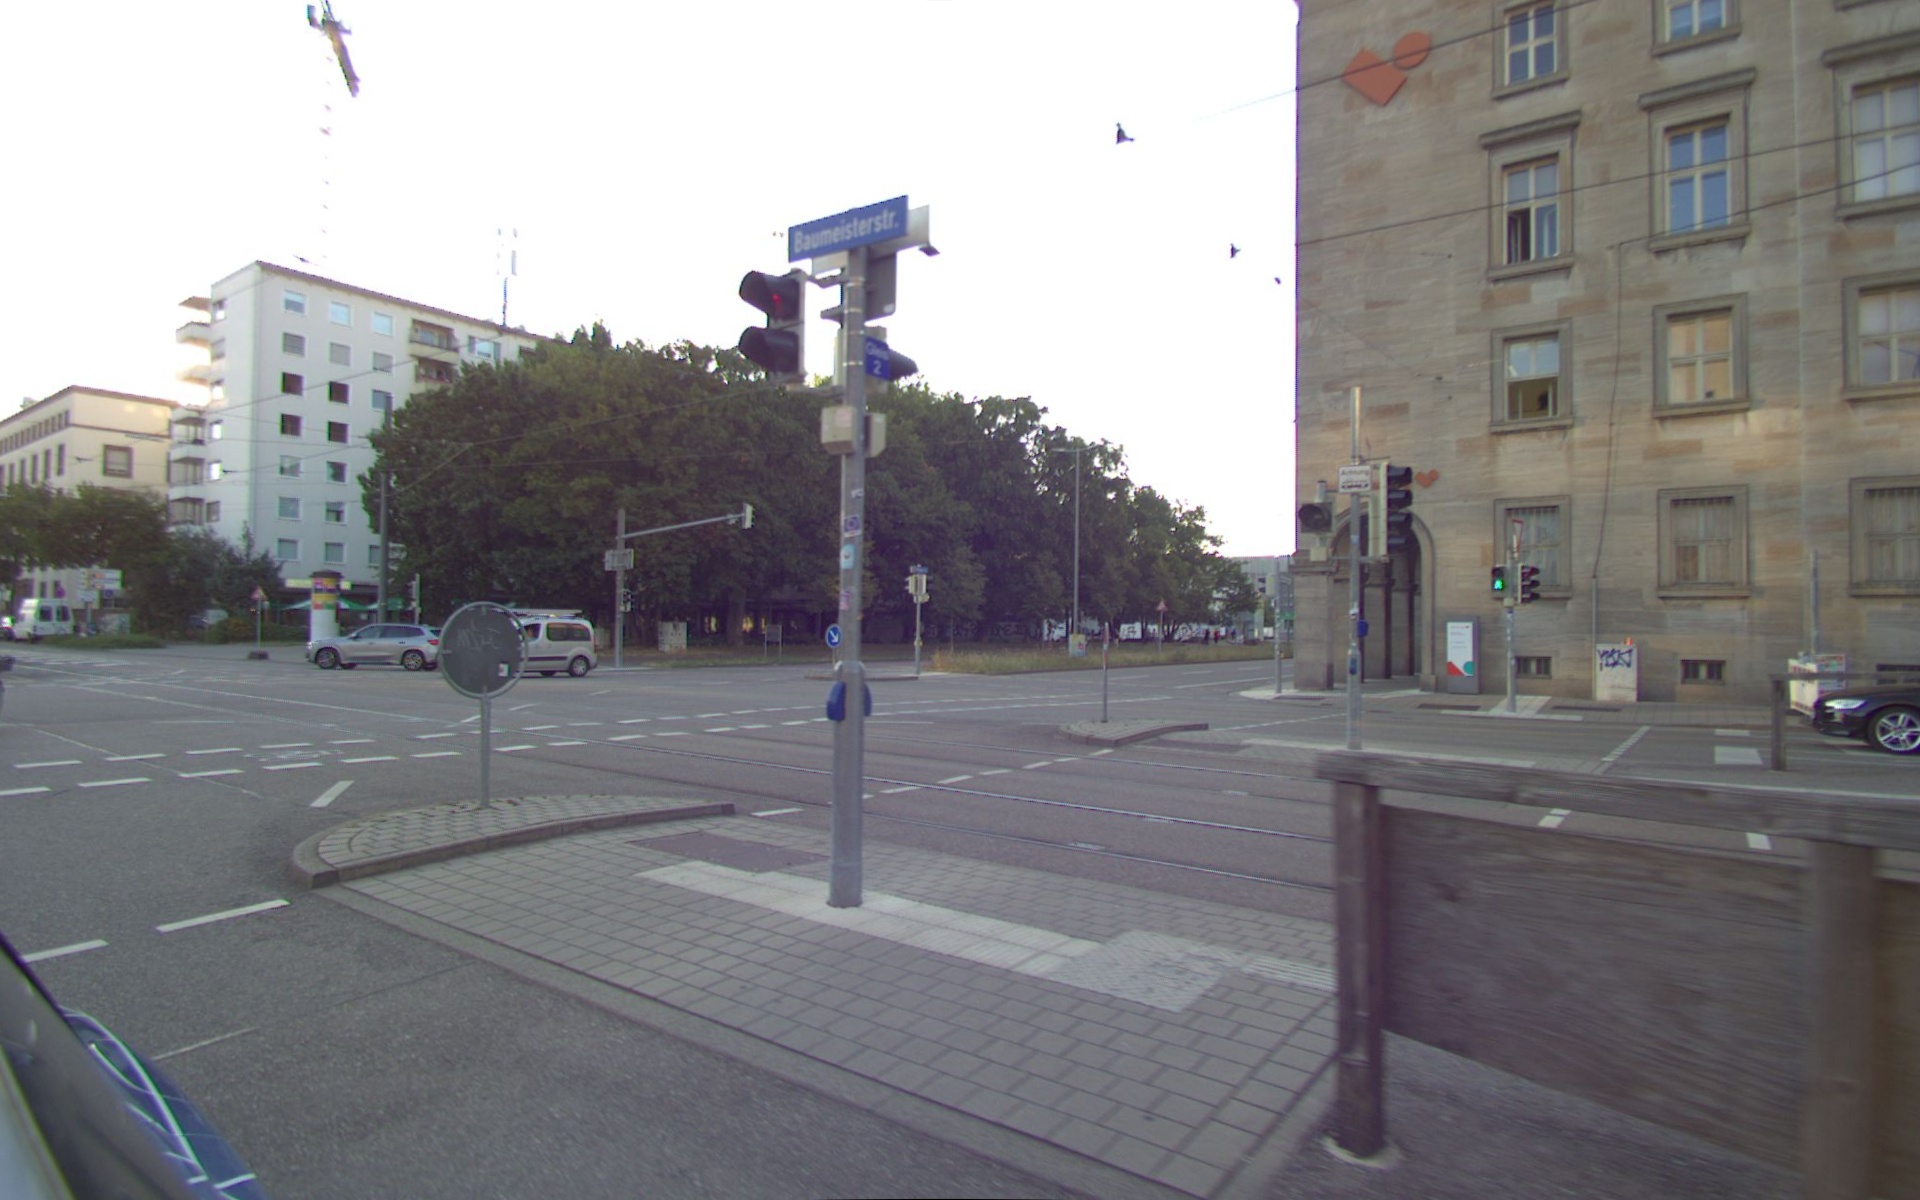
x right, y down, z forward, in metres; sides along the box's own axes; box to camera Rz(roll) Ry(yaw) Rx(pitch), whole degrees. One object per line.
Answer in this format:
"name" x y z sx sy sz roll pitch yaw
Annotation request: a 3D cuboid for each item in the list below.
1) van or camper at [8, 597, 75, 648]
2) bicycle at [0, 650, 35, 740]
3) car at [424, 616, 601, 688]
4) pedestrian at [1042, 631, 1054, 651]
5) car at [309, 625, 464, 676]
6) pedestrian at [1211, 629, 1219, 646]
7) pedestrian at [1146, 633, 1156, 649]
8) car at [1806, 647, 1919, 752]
"van or camper" -53.139 1.323 58.517 4.703 2.702 2.085 -4 -4 38
"bicycle" -12.213 1.181 12.217 0.599 1.123 2.092 1 -2 -14
"car" -12.858 1.455 29.327 1.801 1.926 4.413 -1 -2 34
"pedestrian" 6.569 3.044 75.769 0.676 1.508 0.638 -1 -3 38
"car" -19.647 1.724 34.855 4.273 1.676 1.892 1 -2 -13
"pedestrian" 25.775 3.810 102.341 0.628 1.678 0.641 -1 -2 23
"pedestrian" 17.154 3.692 90.818 0.631 1.474 0.638 -1 -3 38
"car" 14.712 1.411 14.186 4.224 1.438 1.628 -1 -2 36
